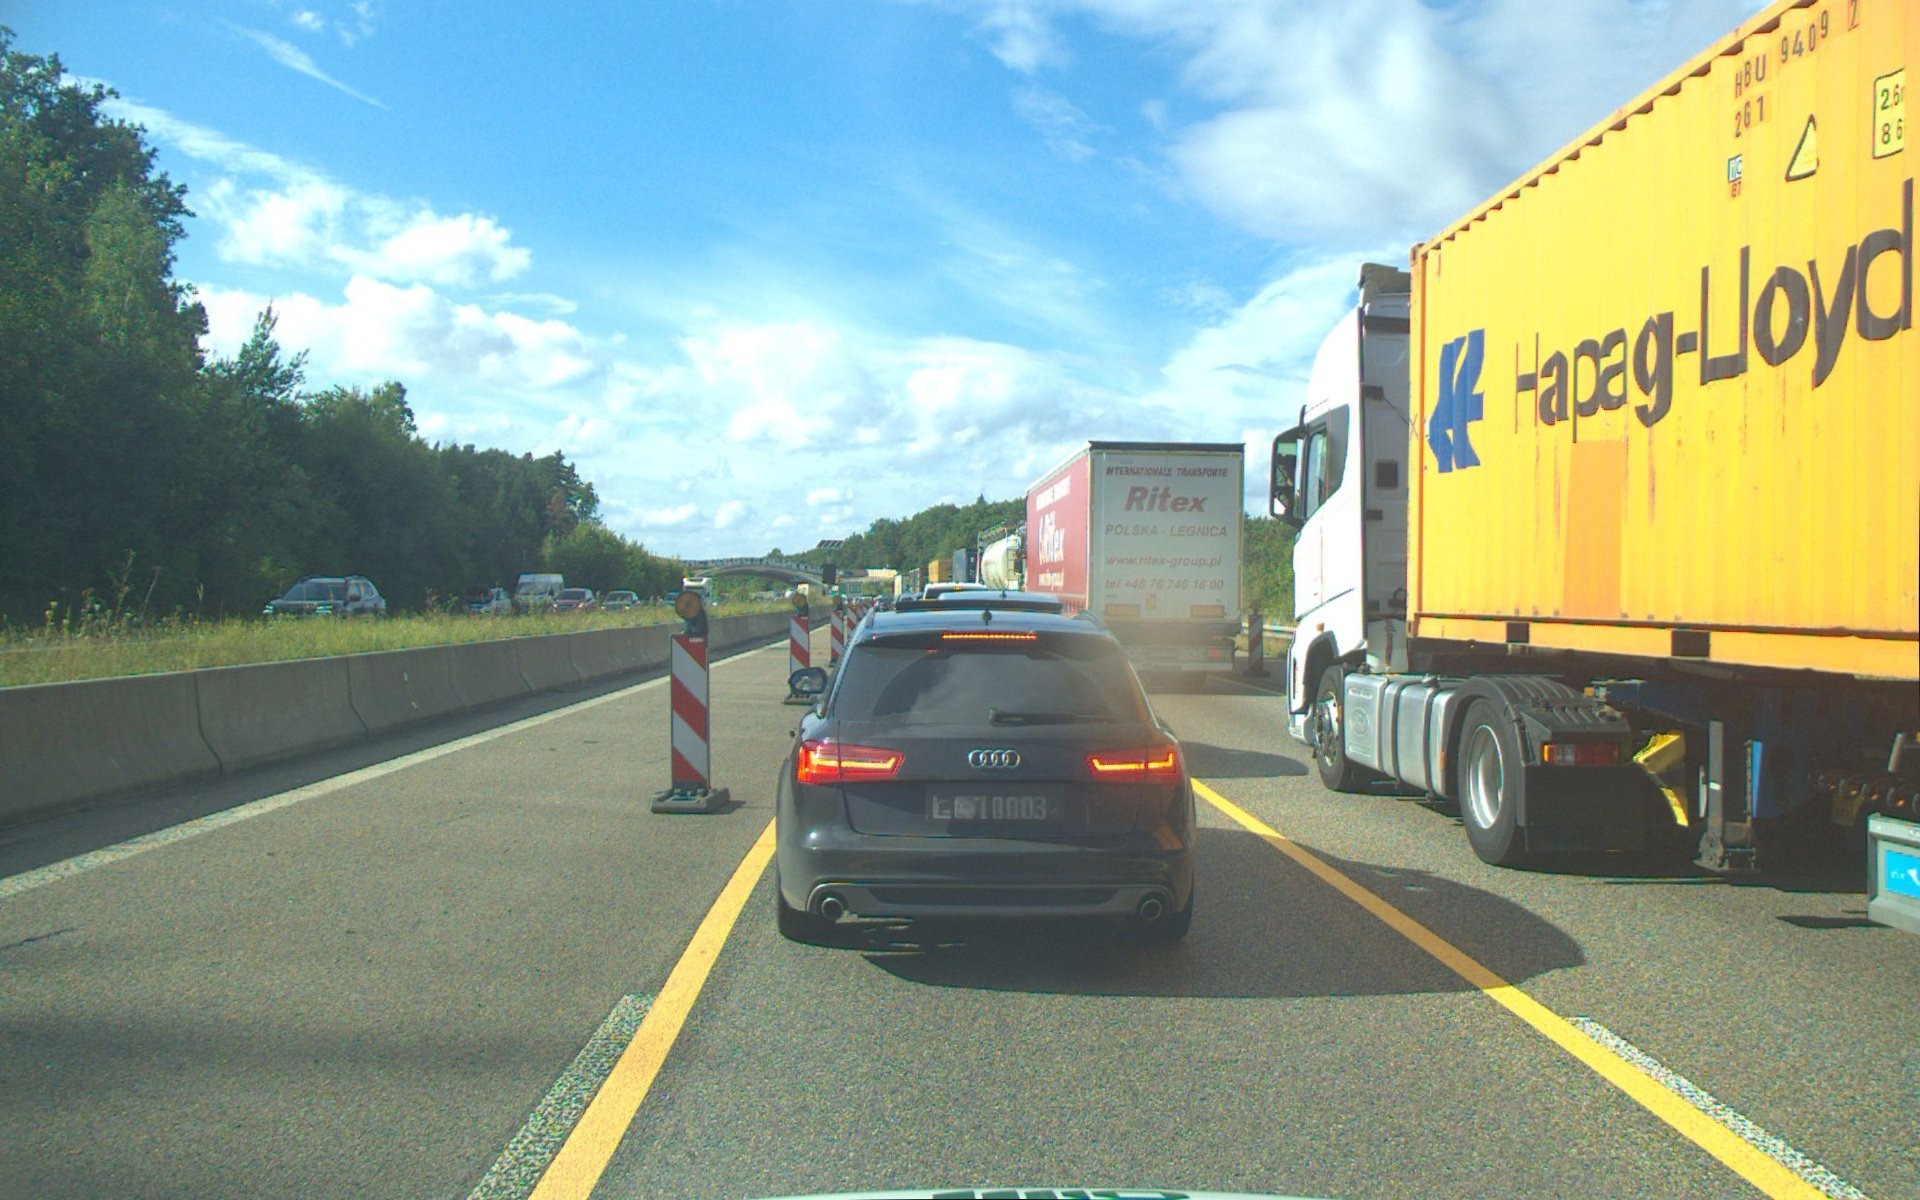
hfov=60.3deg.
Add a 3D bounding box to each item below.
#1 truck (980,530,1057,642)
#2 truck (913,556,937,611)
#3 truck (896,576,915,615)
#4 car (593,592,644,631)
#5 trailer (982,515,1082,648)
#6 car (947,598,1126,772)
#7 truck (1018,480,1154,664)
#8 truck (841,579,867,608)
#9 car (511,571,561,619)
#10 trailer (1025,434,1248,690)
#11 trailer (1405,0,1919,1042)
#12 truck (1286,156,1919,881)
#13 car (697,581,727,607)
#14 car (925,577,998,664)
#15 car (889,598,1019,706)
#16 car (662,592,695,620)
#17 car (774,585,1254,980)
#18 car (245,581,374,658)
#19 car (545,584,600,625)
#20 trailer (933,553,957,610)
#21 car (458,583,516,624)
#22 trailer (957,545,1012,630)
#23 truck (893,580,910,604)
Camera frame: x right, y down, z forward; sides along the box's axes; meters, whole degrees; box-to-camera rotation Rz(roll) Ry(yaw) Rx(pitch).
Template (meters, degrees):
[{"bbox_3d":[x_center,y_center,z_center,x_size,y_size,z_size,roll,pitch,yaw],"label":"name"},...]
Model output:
[{"bbox_3d":[2.169,-0.494,63.151,2.605,4.041,5.777,1,0,-1],"label":"truck"},{"bbox_3d":[-3.276,-1.491,154.013,1.953,5.000,9.558,1,0,-2],"label":"truck"},{"bbox_3d":[-6.193,-0.461,188.779,2.094,4.332,7.069,1,0,-1],"label":"truck"},{"bbox_3d":[-17.034,0.583,82.601,1.762,1.881,3.809,1,0,-1],"label":"car"},{"bbox_3d":[2.282,-0.571,56.688,2.590,4.012,12.595,1,0,-1],"label":"trailer"},{"bbox_3d":[0.645,0.737,15.802,1.493,1.464,3.284,1,0,-1],"label":"car"},{"bbox_3d":[2.888,-0.630,39.466,2.614,4.029,5.709,1,0,-2],"label":"truck"},{"bbox_3d":[-16.374,-0.953,255.179,3.242,4.248,9.683,-1,0,-8],"label":"truck"},{"bbox_3d":[-24.846,-0.277,97.060,2.208,2.689,5.010,1,0,-8],"label":"car"},{"bbox_3d":[3.075,-0.615,33.034,2.645,4.038,13.413,1,0,-1],"label":"trailer"},{"bbox_3d":[4.445,-0.432,5.143,2.422,3.841,12.131,1,0,-2],"label":"trailer"},{"bbox_3d":[4.213,-0.423,11.733,2.444,3.847,5.787,1,0,-2],"label":"truck"},{"bbox_3d":[-22.255,-0.520,148.521,1.953,2.317,5.129,1,0,-1],"label":"car"},{"bbox_3d":[0.020,0.454,37.400,1.549,1.869,3.111,1,0,-1],"label":"car"},{"bbox_3d":[-0.101,0.705,23.954,1.716,1.421,3.607,1,0,-1],"label":"car"},{"bbox_3d":[-17.353,0.371,102.033,1.452,1.682,3.233,1,0,-1],"label":"car"},{"bbox_3d":[0.182,0.706,8.279,1.811,1.489,3.999,1,0,-1],"label":"car"},{"bbox_3d":[-15.457,0.451,39.472,1.680,1.736,3.522,1,0,-1],"label":"car"},{"bbox_3d":[-20.151,0.212,86.213,1.953,2.049,3.999,1,0,-1],"label":"car"},{"bbox_3d":[-1.124,-1.275,120.574,1.584,3.987,6.487,1,0,-2],"label":"trailer"},{"bbox_3d":[-24.897,0.196,87.196,1.953,2.049,3.999,1,0,-1],"label":"car"},{"bbox_3d":[1.293,-0.632,93.625,2.748,4.490,10.430,1,0,-1],"label":"trailer"},{"bbox_3d":[-9.101,-1.246,255.632,2.515,3.527,7.395,1,0,-2],"label":"truck"}]
